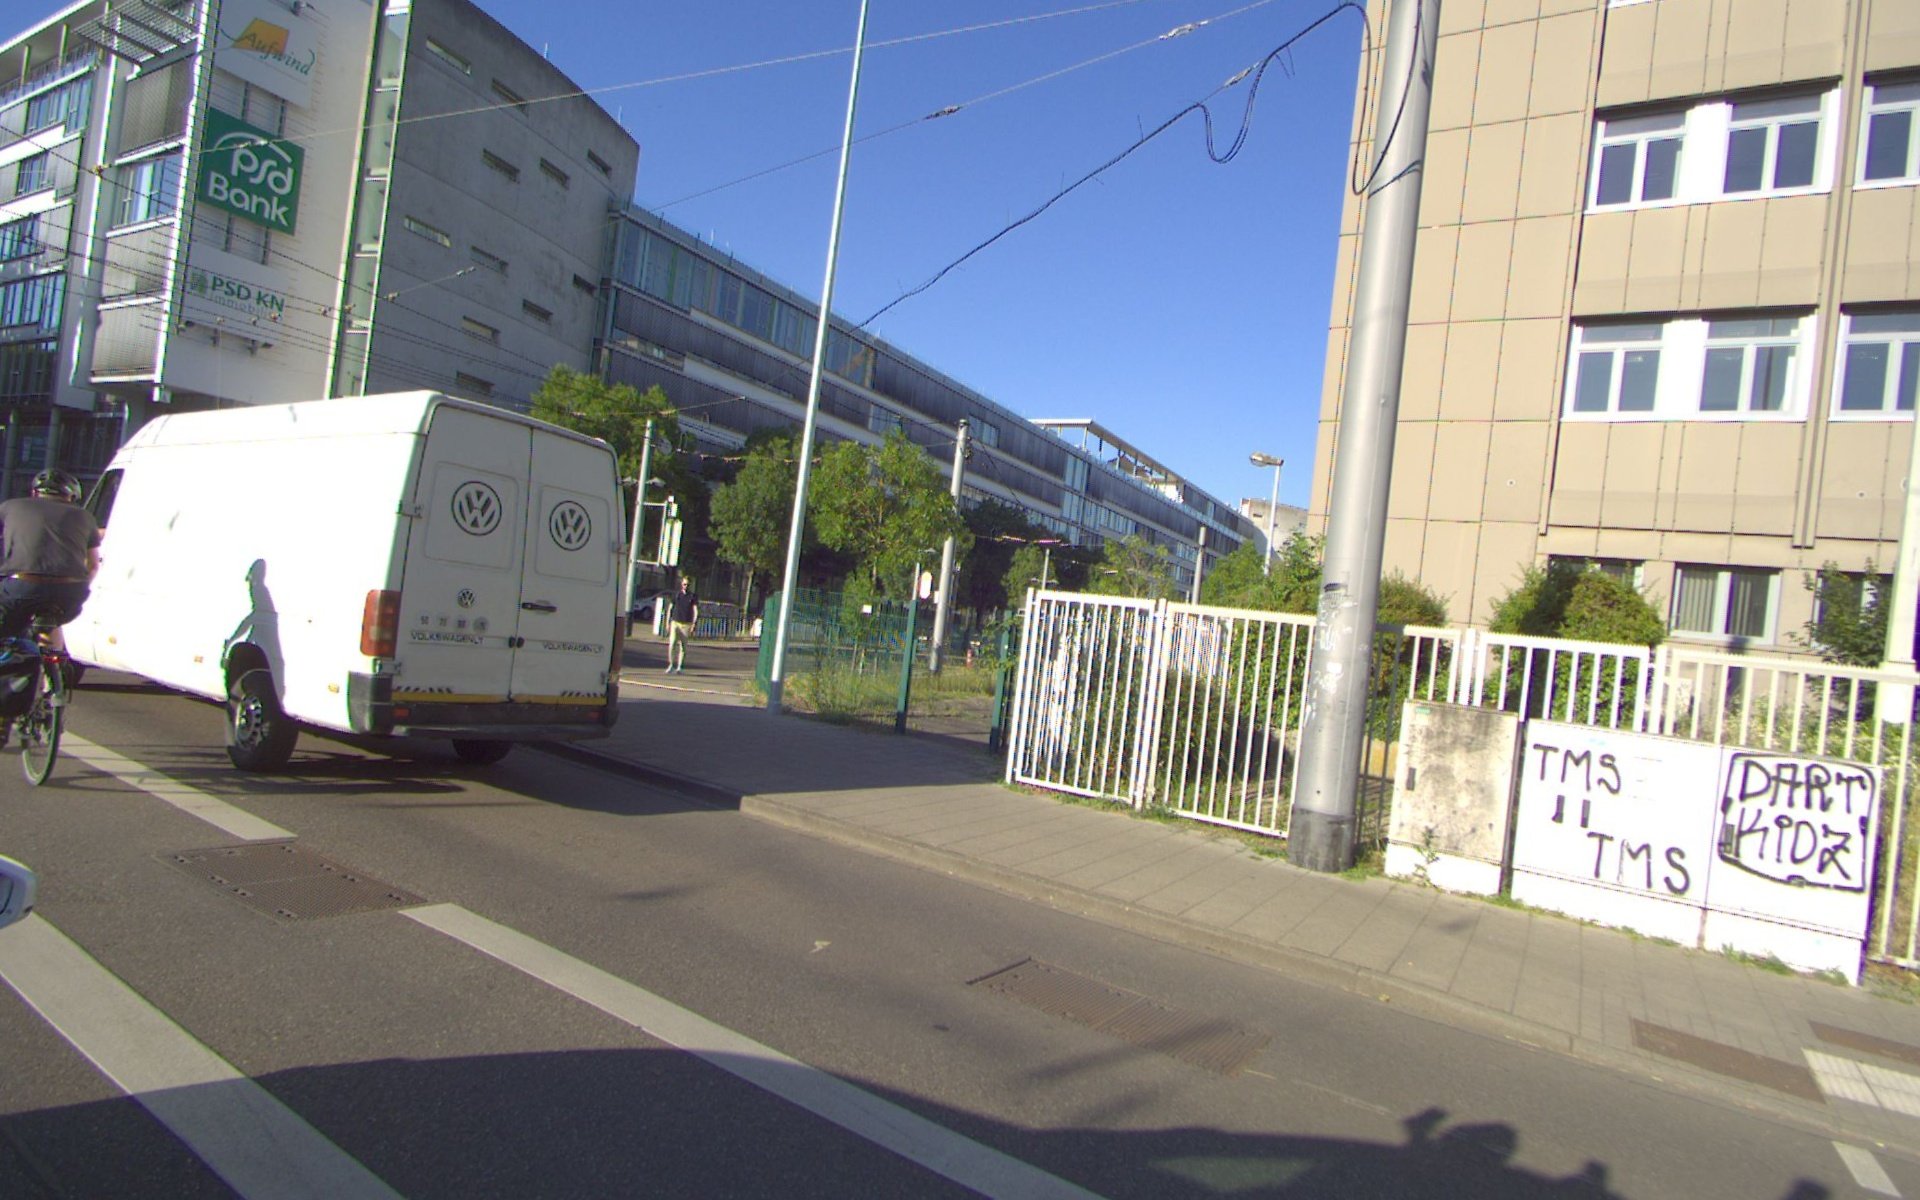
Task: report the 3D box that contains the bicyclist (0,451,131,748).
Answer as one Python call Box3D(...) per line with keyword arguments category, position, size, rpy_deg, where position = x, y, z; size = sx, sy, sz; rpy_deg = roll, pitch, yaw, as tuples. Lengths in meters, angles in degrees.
Box3D(category="bicyclist", position=(-5.587, -0.023, 5.973), size=(1.072, 1.622, 0.650), rpy_deg=(6, 0, 36))

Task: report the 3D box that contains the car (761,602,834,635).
Box3D(category="car", position=(-9.976, 1.168, 62.029), size=(1.954, 1.512, 4.396), rpy_deg=(6, -1, 30))

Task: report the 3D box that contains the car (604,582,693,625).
Box3D(category="car", position=(-16.002, 0.189, 51.828), size=(1.954, 1.715, 3.994), rpy_deg=(6, -1, 30))

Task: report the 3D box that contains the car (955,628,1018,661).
Box3D(category="car", position=(1.657, 2.729, 60.928), size=(1.967, 1.620, 3.994), rpy_deg=(6, -2, 31))

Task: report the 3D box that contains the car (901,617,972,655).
Box3D(category="car", position=(-1.260, 2.007, 55.484), size=(1.967, 1.620, 3.994), rpy_deg=(6, -2, 31))

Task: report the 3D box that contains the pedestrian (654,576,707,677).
Box3D(category="pedestrian", position=(-5.414, 0.522, 19.540), size=(0.725, 1.834, 1.080), rpy_deg=(7, -2, -12))

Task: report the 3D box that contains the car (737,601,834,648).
Box3D(category="car", position=(-7.674, 1.131, 44.599), size=(1.967, 1.631, 3.994), rpy_deg=(6, -2, 31))

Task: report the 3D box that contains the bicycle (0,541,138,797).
Box3D(category="bicycle", position=(-5.681, 0.325, 5.998), size=(1.936, 1.296, 0.650), rpy_deg=(6, -1, 37))

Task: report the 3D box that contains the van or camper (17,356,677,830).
Box3D(category="van or camper", position=(-5.365, -0.215, 8.337), size=(6.203, 2.747, 1.972), rpy_deg=(6, -2, 34))

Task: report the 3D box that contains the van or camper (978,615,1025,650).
Box3D(category="van or camper", position=(3.549, 2.791, 84.989), size=(1.954, 2.533, 4.396), rpy_deg=(7, -1, 30))
